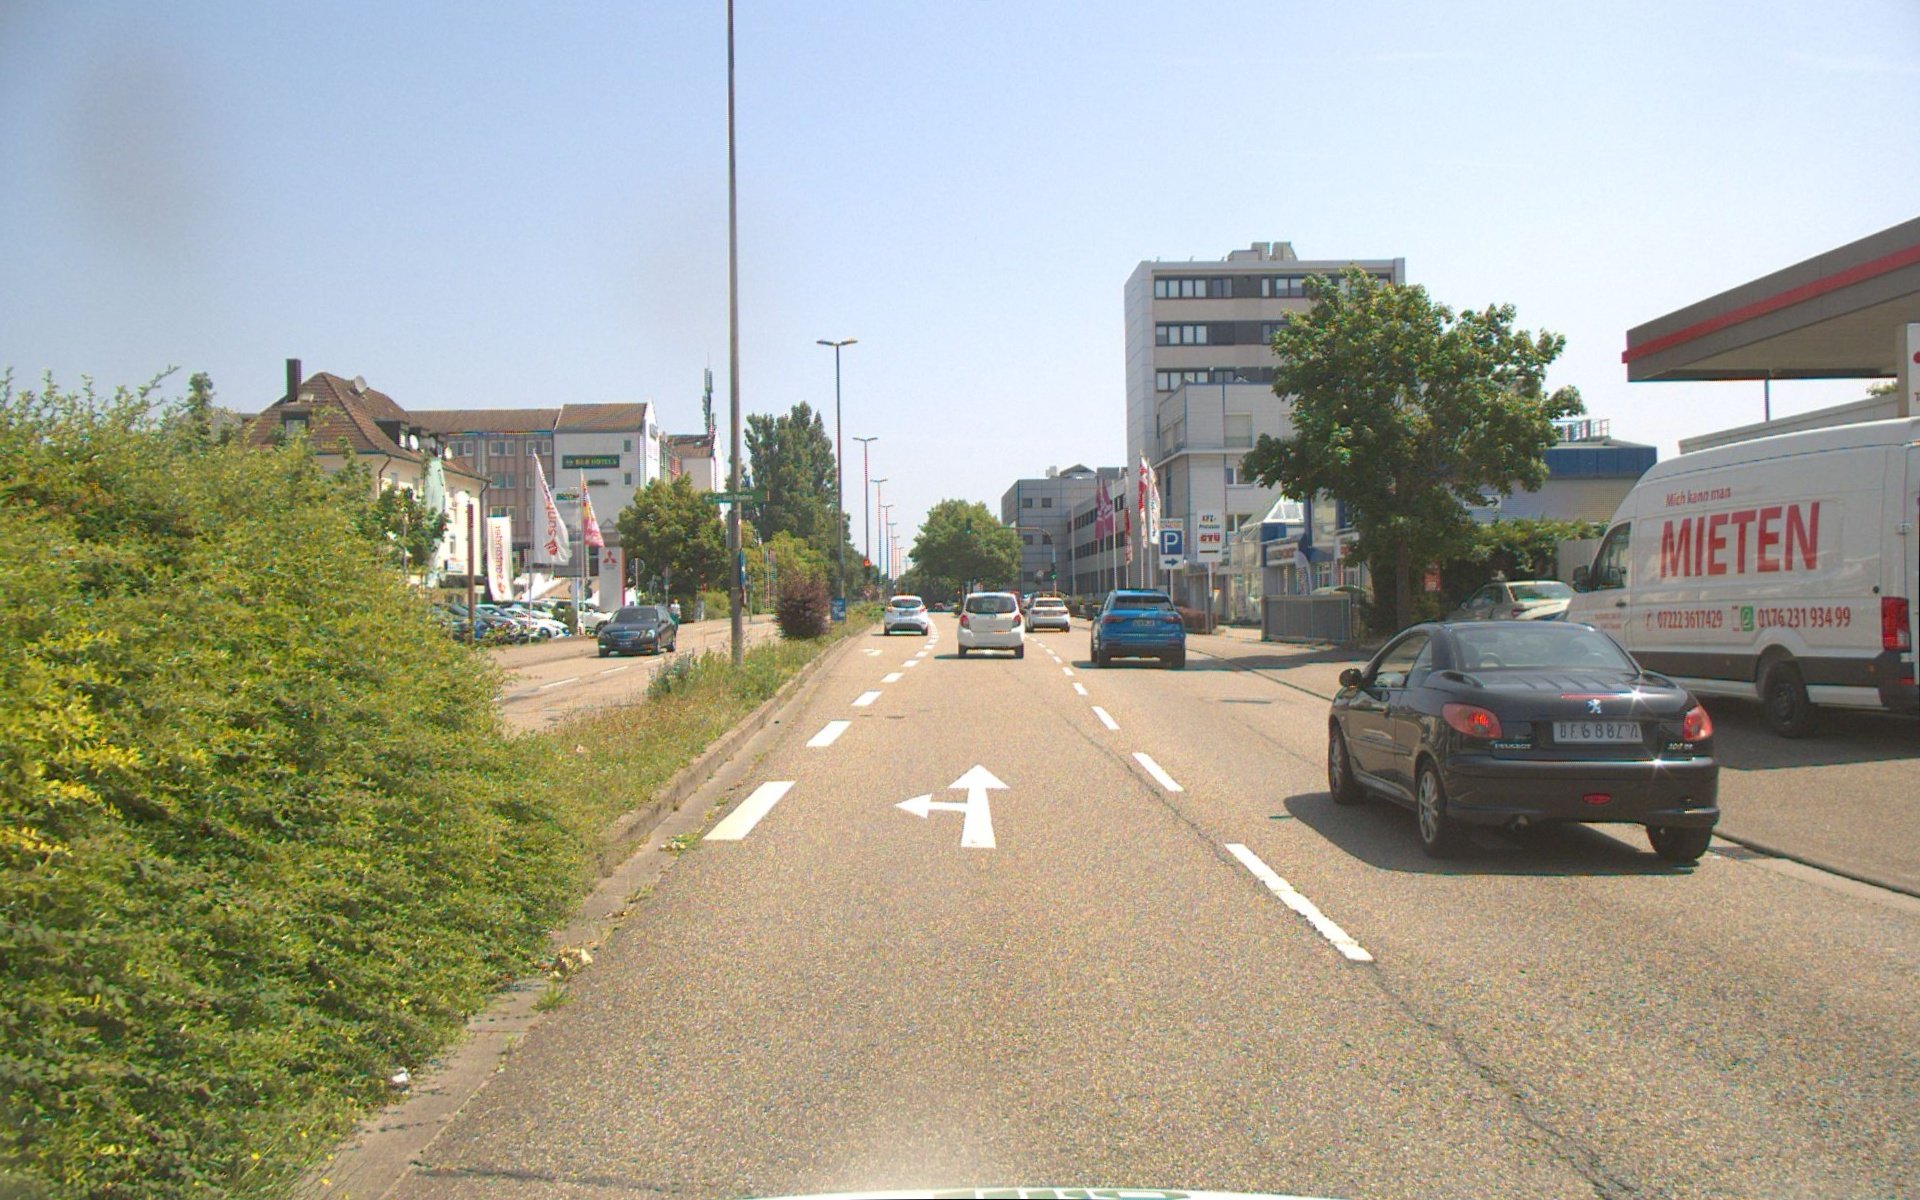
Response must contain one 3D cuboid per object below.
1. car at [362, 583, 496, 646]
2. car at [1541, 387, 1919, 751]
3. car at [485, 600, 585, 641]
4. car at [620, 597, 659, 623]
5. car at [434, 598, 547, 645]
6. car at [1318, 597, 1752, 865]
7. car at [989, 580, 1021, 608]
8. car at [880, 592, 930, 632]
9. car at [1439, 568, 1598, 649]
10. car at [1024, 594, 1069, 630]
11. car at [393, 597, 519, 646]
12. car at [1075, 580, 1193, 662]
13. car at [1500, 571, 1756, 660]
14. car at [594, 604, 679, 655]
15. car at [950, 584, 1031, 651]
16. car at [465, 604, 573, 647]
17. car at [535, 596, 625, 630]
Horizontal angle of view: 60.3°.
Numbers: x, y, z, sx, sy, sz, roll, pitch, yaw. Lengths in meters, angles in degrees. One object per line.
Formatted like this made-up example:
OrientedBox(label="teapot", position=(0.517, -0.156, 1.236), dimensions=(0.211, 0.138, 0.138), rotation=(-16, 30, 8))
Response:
OrientedBox(label="car", position=(-17.866, 0.499, 55.825), dimensions=(3.908, 2.049, 1.998), rotation=(0, -2, -4))
OrientedBox(label="car", position=(8.431, -0.325, 16.845), dimensions=(2.090, 2.888, 7.306), rotation=(-4, 0, -2))
OrientedBox(label="car", position=(-18.531, 0.915, 72.107), dimensions=(3.940, 1.761, 1.891), rotation=(1, -2, -27))
OrientedBox(label="car", position=(-17.973, 0.581, 92.906), dimensions=(1.865, 1.378, 3.994), rotation=(0, -2, -7))
OrientedBox(label="car", position=(-18.231, 0.850, 64.398), dimensions=(3.908, 1.759, 1.935), rotation=(0, -2, -4))
OrientedBox(label="car", position=(3.537, 0.711, 10.860), dimensions=(1.567, 1.450, 3.661), rotation=(0, 0, 0))
OrientedBox(label="car", position=(2.984, -0.401, 109.950), dimensions=(1.759, 1.759, 3.969), rotation=(0, -1, -4))
OrientedBox(label="car", position=(-2.069, 0.480, 62.994), dimensions=(1.792, 1.475, 3.999), rotation=(0, -1, 0))
OrientedBox(label="car", position=(11.327, 0.217, 33.825), dimensions=(1.714, 1.538, 3.997), rotation=(0, -2, -3))
OrientedBox(label="car", position=(3.615, 0.487, 69.511), dimensions=(1.633, 1.424, 3.792), rotation=(-1, 0, -1))
OrientedBox(label="car", position=(-17.753, 0.766, 58.444), dimensions=(3.908, 1.694, 1.887), rotation=(0, -2, -4))
OrientedBox(label="car", position=(3.666, 0.396, 35.622), dimensions=(1.875, 1.625, 4.393), rotation=(0, 1, -3))
OrientedBox(label="car", position=(11.916, 0.302, 29.691), dimensions=(3.902, 1.538, 1.747), rotation=(0, -2, 5))
OrientedBox(label="car", position=(-9.868, 0.875, 50.748), dimensions=(1.859, 1.412, 4.066), rotation=(-2, 0, -2))
OrientedBox(label="car", position=(0.707, 0.420, 40.119), dimensions=(1.678, 1.537, 3.244), rotation=(0, -1, -4))
OrientedBox(label="car", position=(-17.923, 1.062, 67.362), dimensions=(3.908, 1.713, 1.998), rotation=(0, -2, -4))
OrientedBox(label="car", position=(-18.509, 0.649, 80.718), dimensions=(3.905, 1.579, 1.865), rotation=(0, -2, 1))
